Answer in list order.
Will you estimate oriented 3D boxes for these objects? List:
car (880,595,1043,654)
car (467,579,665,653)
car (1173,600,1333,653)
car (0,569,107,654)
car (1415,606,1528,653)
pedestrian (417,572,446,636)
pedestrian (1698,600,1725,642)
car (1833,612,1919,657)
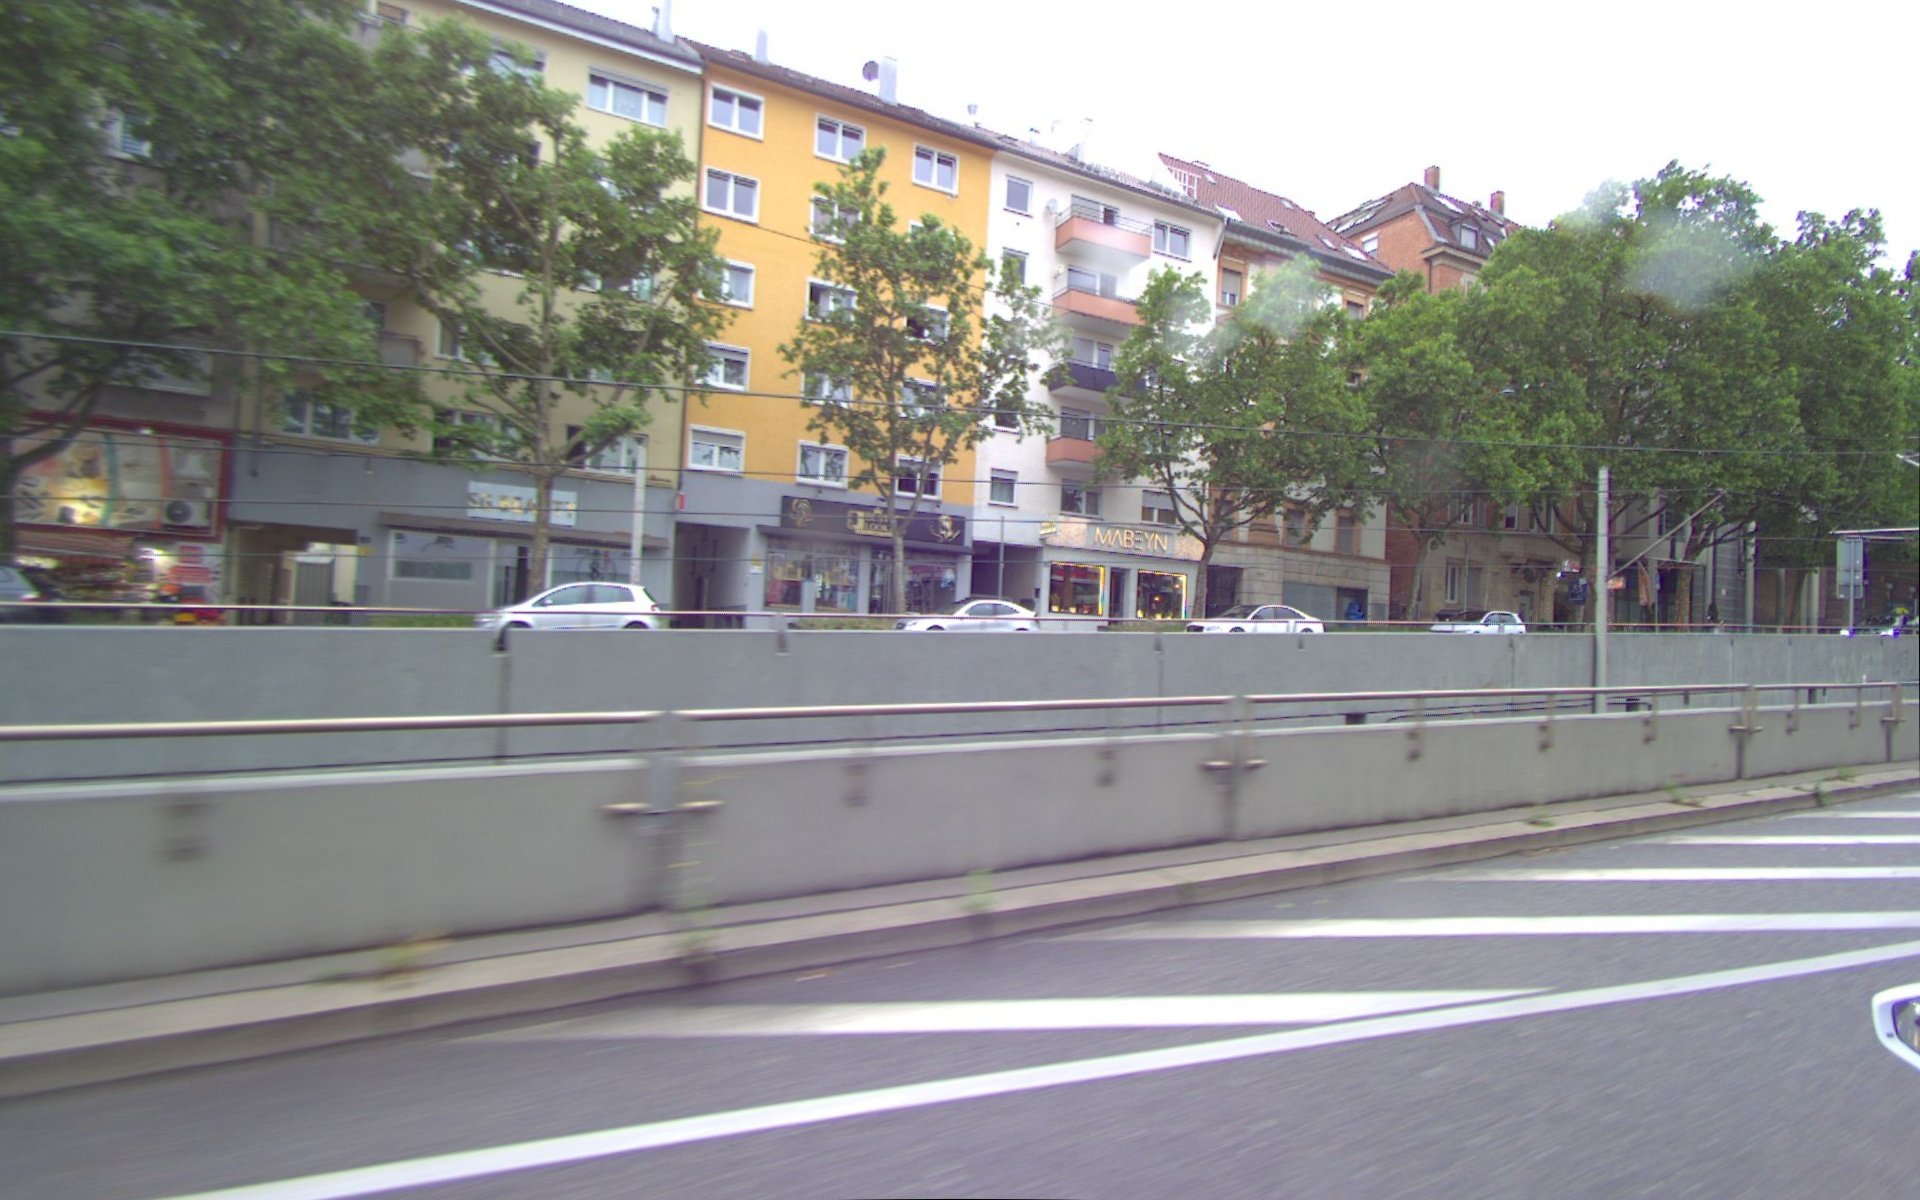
[{"bbox_3d":[0.057,0.675,27.939,4.154,1.530,1.787,1,0,-28],"label":"car"},{"bbox_3d":[-9.183,0.379,23.455,4.154,1.592,1.787,1,0,-28],"label":"car"},{"bbox_3d":[9.621,0.868,32.853,5.134,1.622,1.919,1,0,-28],"label":"car"},{"bbox_3d":[-18.744,0.170,18.261,4.613,1.530,1.787,1,0,-28],"label":"car"},{"bbox_3d":[19.240,1.100,37.751,4.061,1.633,1.786,1,0,-29],"label":"car"},{"bbox_3d":[-14.819,0.112,28.172,0.612,1.772,0.522,2,2,-20],"label":"pedestrian"},{"bbox_3d":[37.717,1.064,50.407,0.922,2.040,0.667,2,0,-26],"label":"pedestrian"},{"bbox_3d":[42.160,1.565,45.707,4.904,1.877,1.949,1,0,-27],"label":"car"}]
